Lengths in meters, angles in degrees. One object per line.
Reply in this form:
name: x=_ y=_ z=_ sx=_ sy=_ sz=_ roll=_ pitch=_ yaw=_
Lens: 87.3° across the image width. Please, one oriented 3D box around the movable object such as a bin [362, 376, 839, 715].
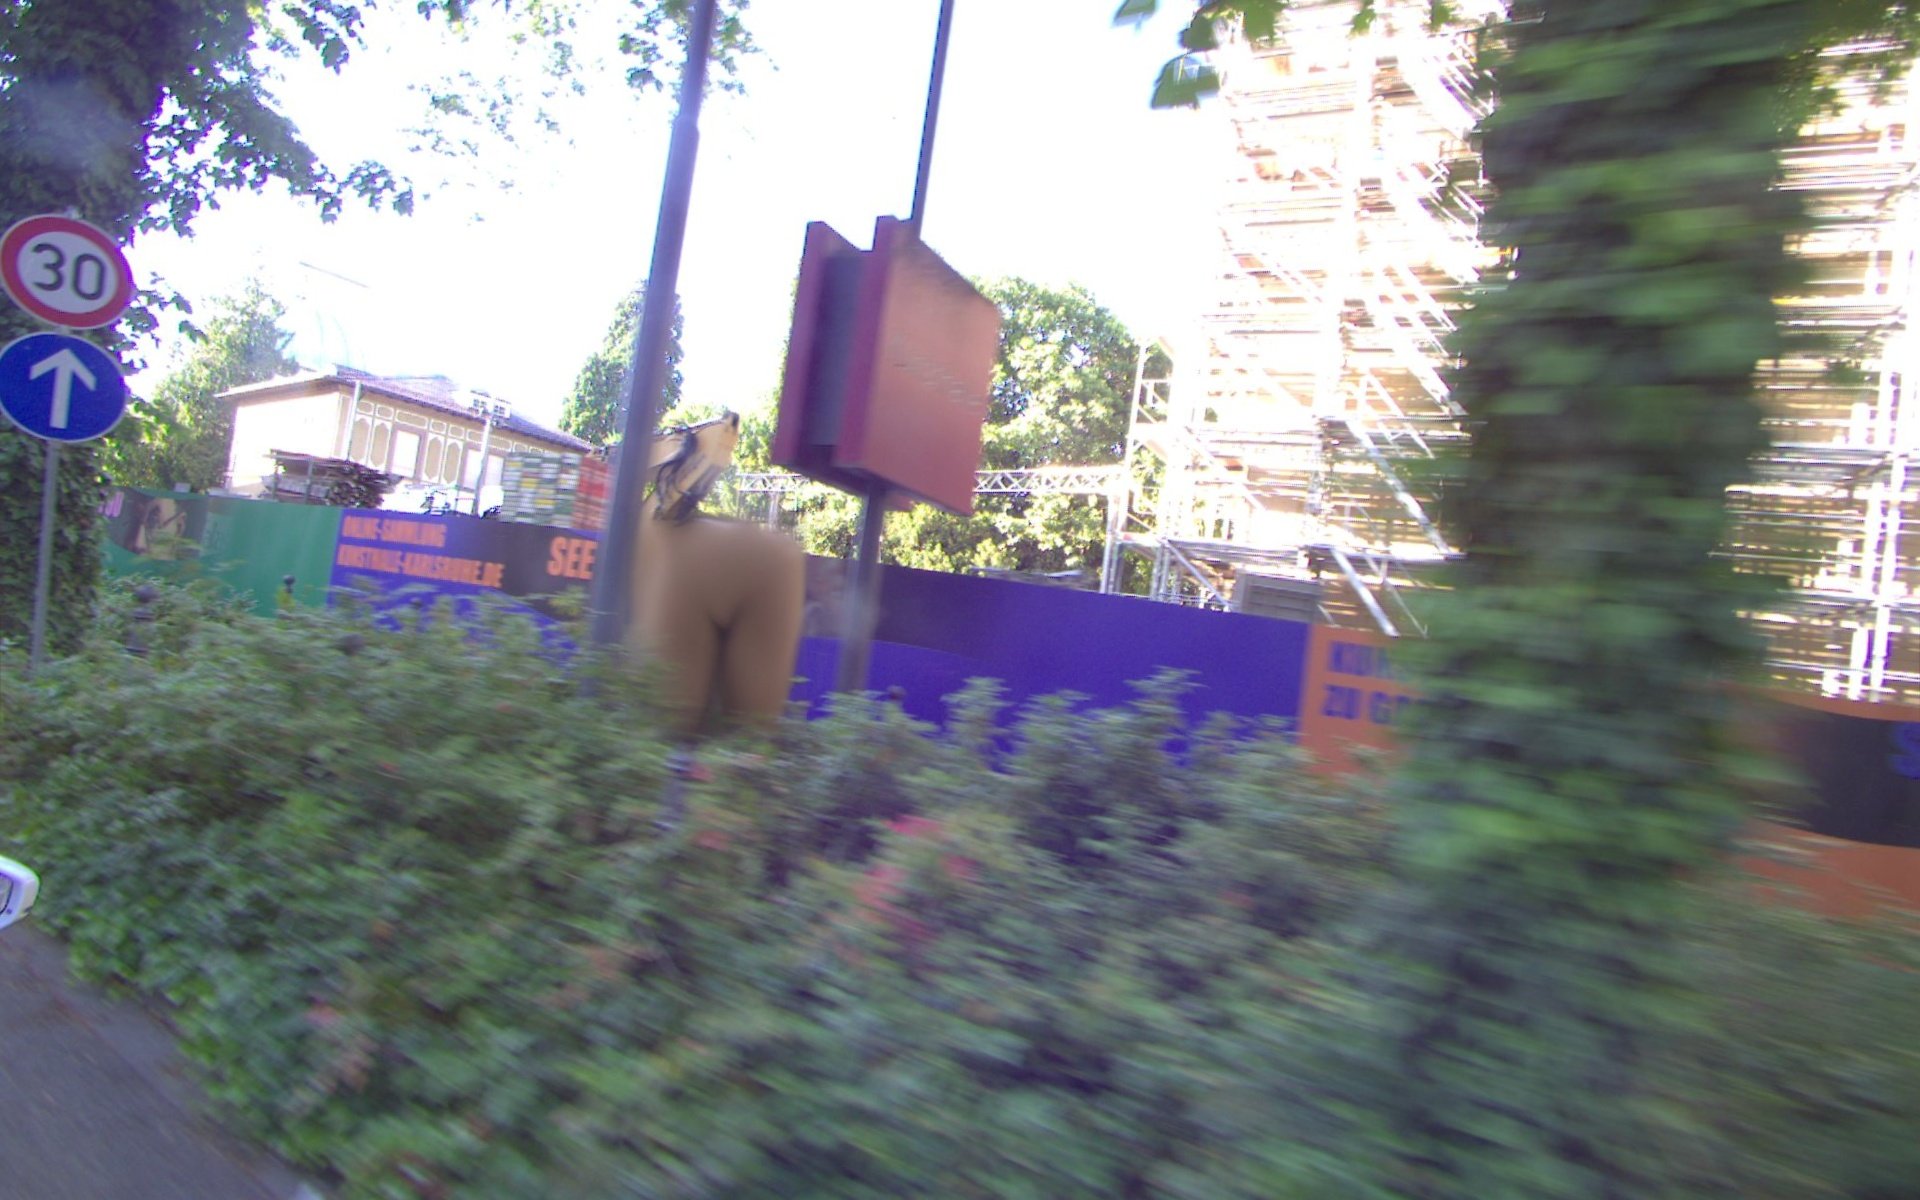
movable object such as a bin: x=-6.357 y=-0.943 z=17.274 sx=7.779 sy=4.591 sz=3.312 roll=6 pitch=-2 yaw=35
